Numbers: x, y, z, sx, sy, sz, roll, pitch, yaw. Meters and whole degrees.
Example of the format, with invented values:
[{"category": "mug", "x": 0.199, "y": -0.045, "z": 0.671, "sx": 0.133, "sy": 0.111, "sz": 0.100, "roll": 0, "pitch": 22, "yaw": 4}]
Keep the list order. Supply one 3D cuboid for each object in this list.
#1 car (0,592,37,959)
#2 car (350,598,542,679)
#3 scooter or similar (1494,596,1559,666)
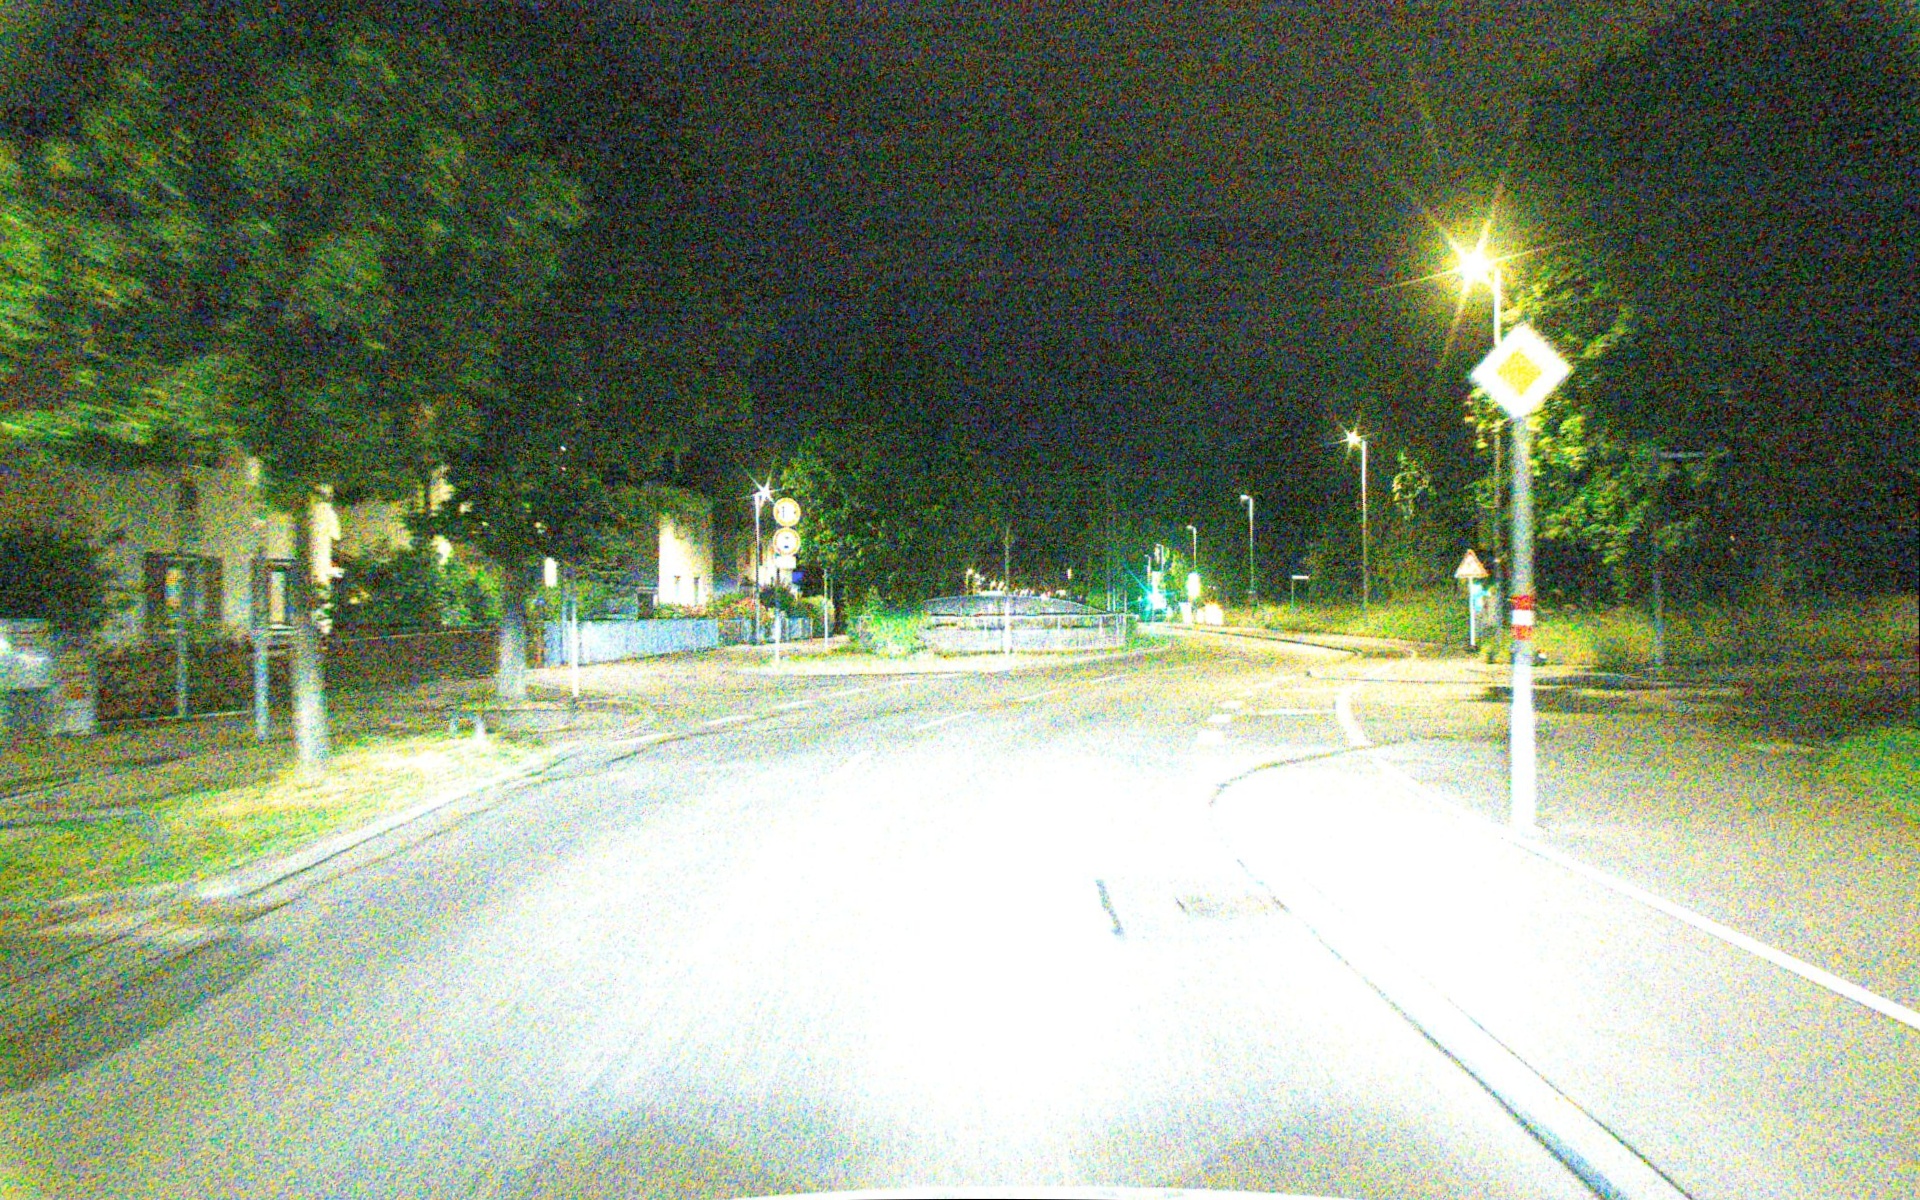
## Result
[{"category": "car", "x": -5.034, "y": 0.797, "z": 5.605, "sx": 1.638, "sy": 1.618, "sz": 3.986, "roll": 0, "pitch": 1, "yaw": -1}, {"category": "car", "x": -11.262, "y": 0.843, "z": 36.295, "sx": 3.635, "sy": 1.655, "sz": 1.784, "roll": -2, "pitch": 0, "yaw": 18}, {"category": "scooter or similar", "x": 10.908, "y": 0.583, "z": 31.893, "sx": 0.599, "sy": 1.303, "sz": 1.689, "roll": 0, "pitch": 0, "yaw": -2}]
